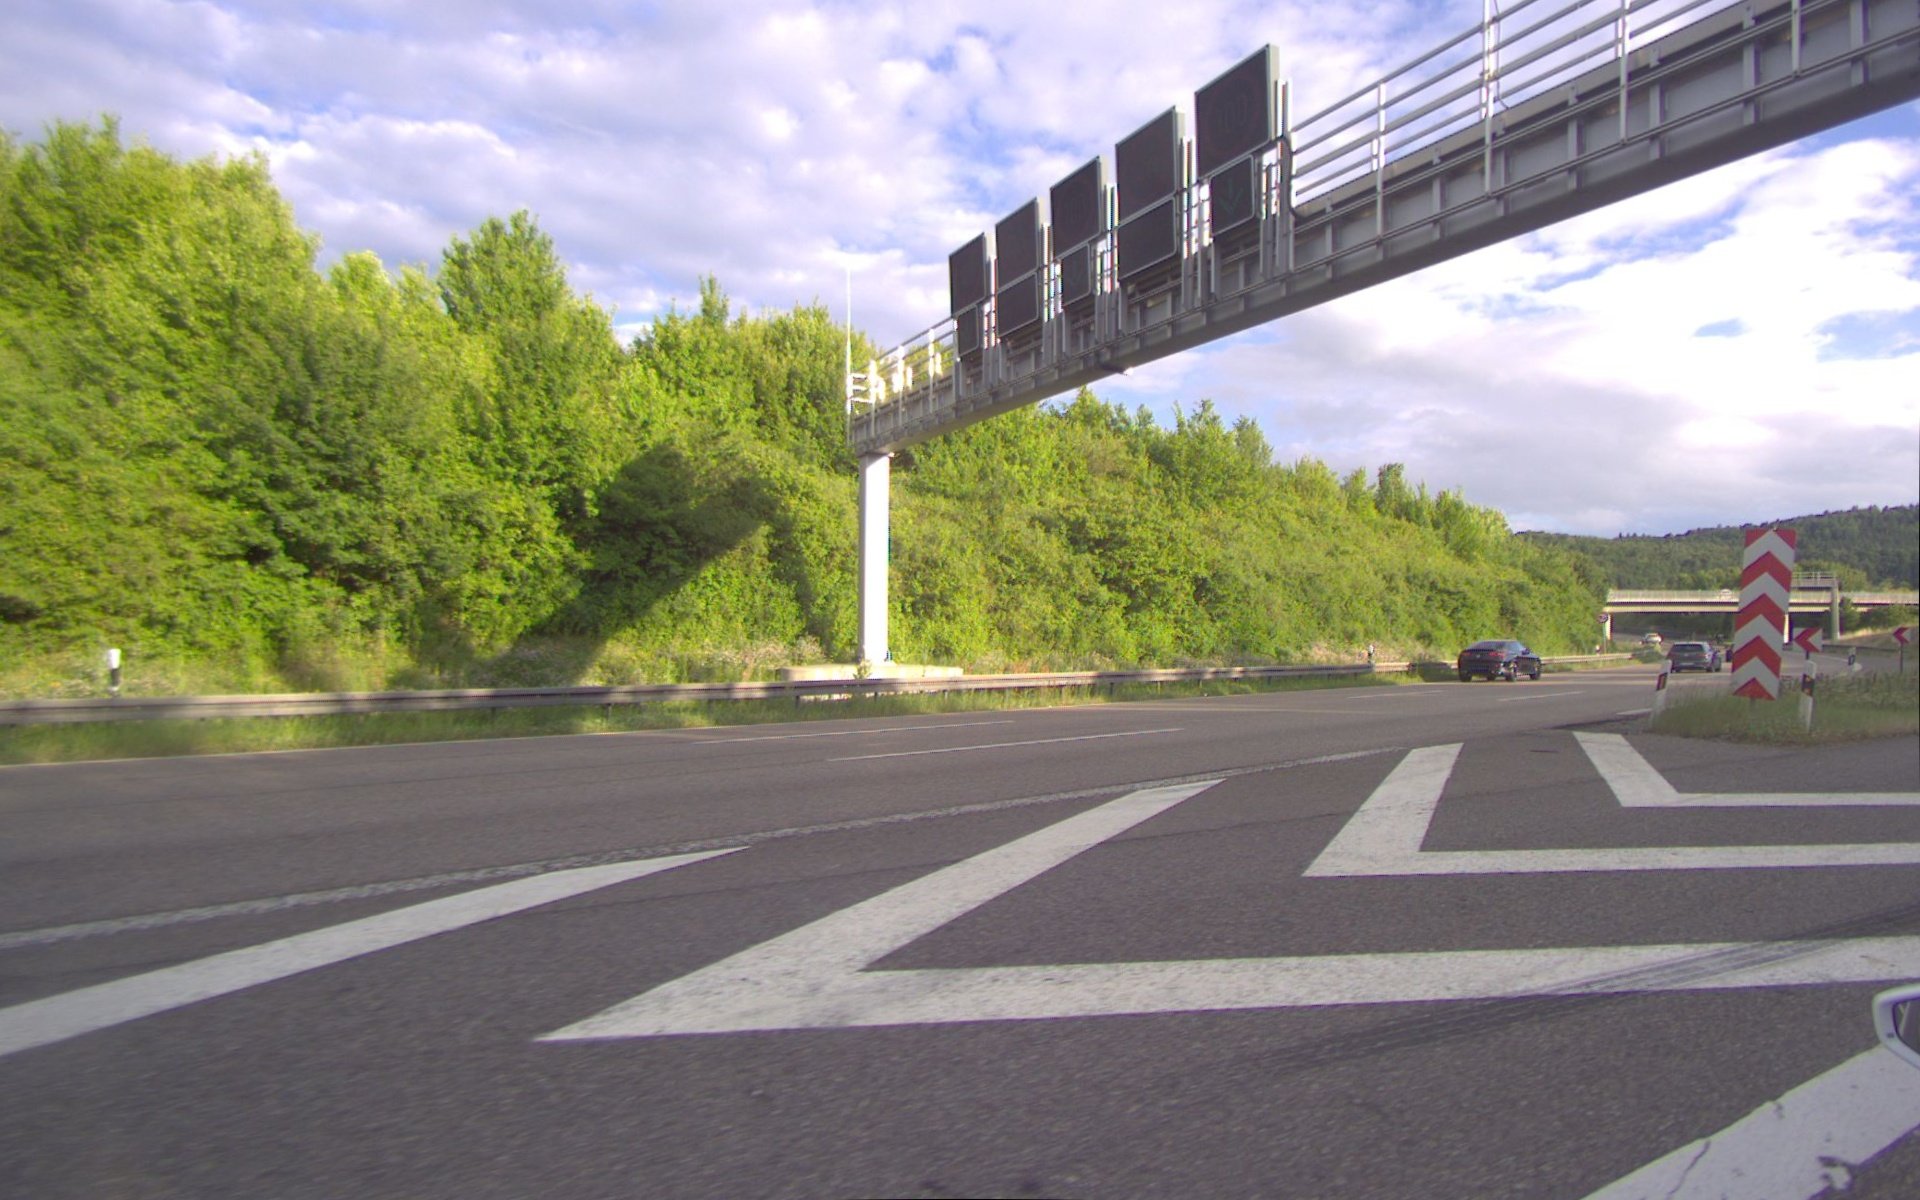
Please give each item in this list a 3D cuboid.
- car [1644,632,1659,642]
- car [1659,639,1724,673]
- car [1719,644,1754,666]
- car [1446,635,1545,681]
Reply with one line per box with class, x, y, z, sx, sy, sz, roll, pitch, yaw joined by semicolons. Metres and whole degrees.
car;104.289;5.625;151.426;1.715;1.486;3.625;-2;-3;36
car;33.794;2.591;46.387;3.761;1.485;1.721;2;-5;-44
car;55.439;3.914;71.721;1.587;1.485;3.507;-4;-5;43
car;20.457;2.198;38.318;3.965;1.656;1.819;1;-5;-38
